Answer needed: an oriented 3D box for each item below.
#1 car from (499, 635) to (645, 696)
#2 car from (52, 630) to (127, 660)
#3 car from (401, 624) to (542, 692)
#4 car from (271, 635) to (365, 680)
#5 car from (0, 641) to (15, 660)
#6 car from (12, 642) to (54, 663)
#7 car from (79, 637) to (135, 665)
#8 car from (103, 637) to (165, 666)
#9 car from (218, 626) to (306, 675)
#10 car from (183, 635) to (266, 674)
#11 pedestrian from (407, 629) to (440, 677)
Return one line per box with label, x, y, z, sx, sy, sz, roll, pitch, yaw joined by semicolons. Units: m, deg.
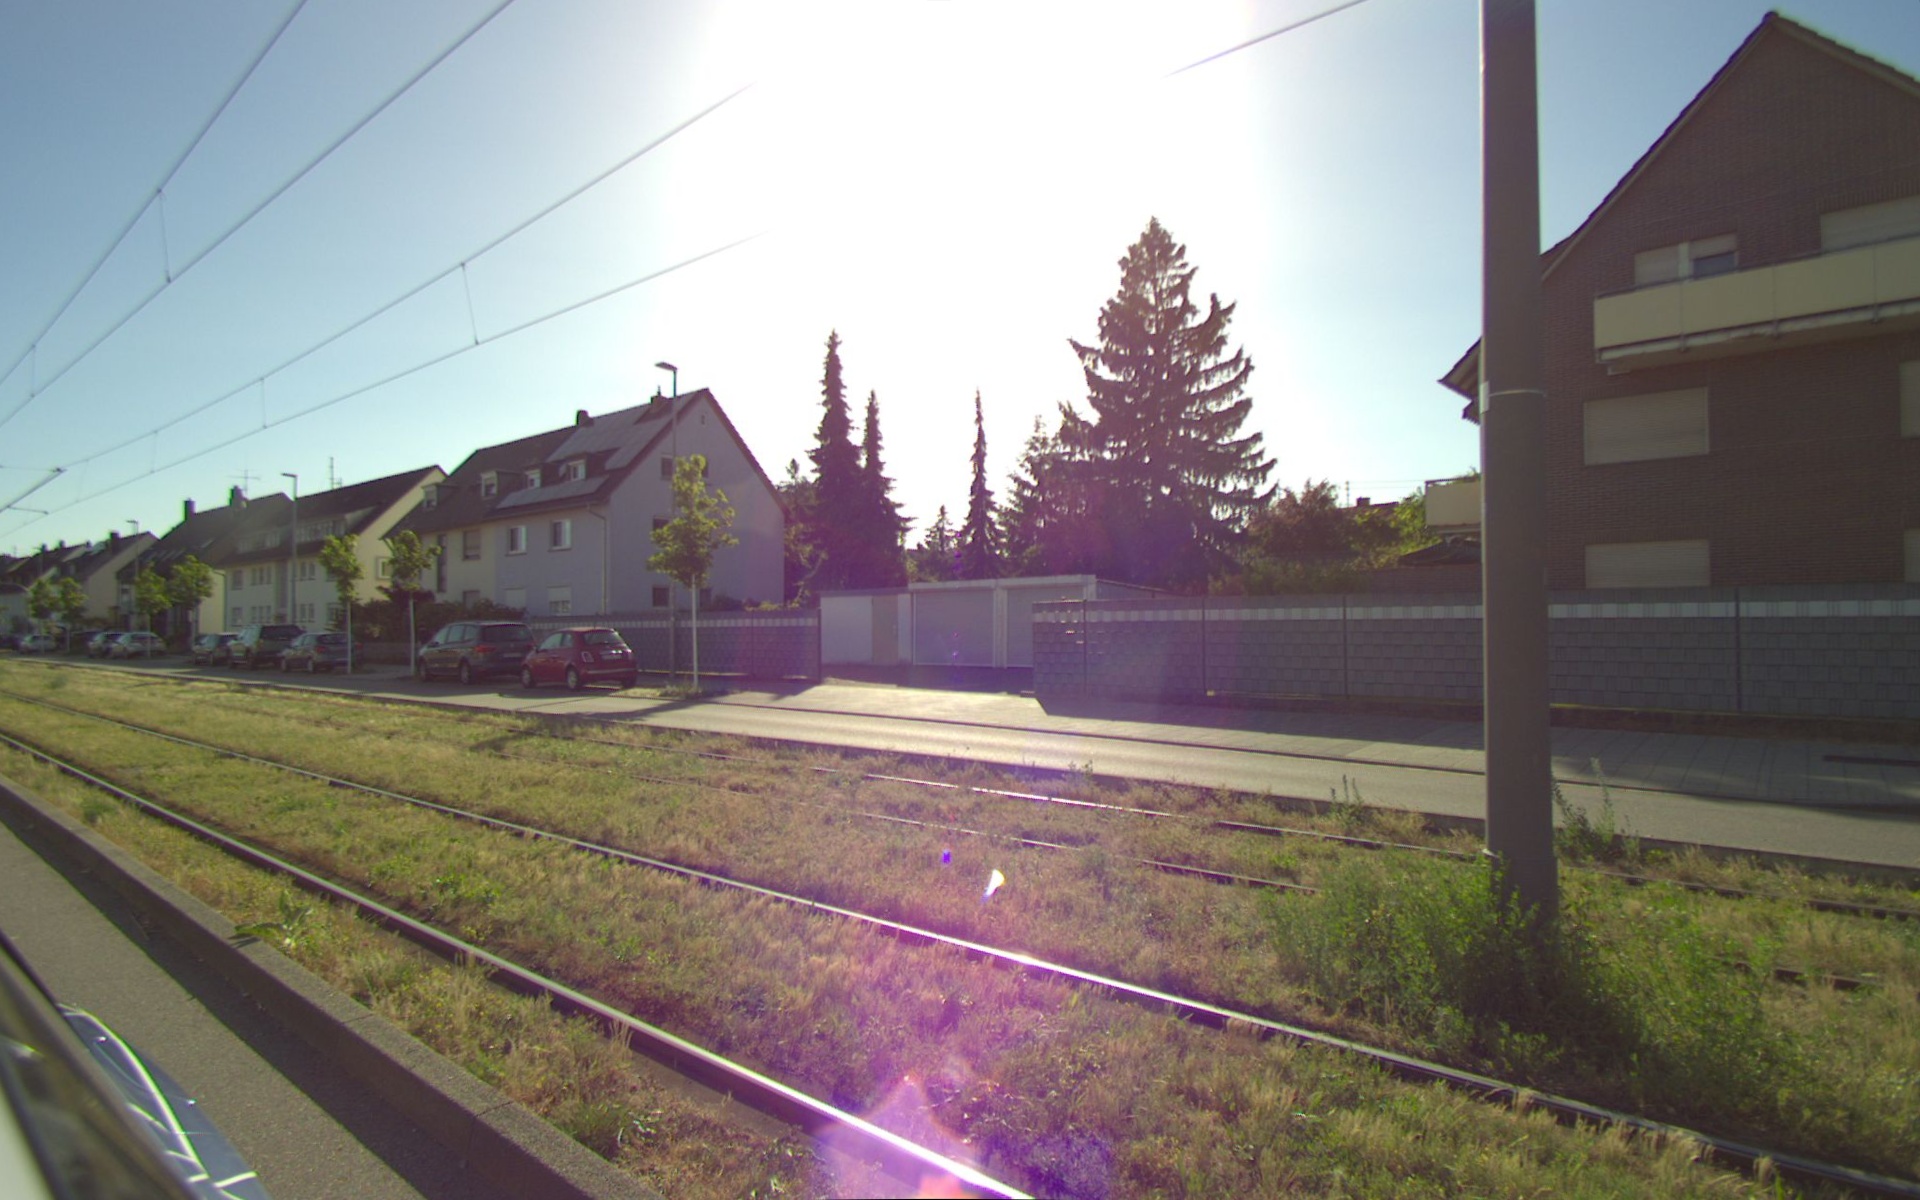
car;-9.715;1.583;25.200;4.076;1.415;1.678;-2;-3;41
car;-71.663;3.660;83.385;1.785;2.096;4.417;-2;1;39
car;-13.899;1.587;28.672;4.842;1.697;1.801;-2;-1;41
car;-23.691;2.077;37.321;4.044;1.502;1.660;-2;-1;38
car;-78.036;4.117;82.007;4.081;1.523;1.603;-2;-1;40
car;-67.855;3.819;74.078;4.097;1.447;1.642;-2;-2;38
car;-50.157;2.979;59.489;4.309;1.484;1.672;-1;-1;38
car;-45.338;2.801;55.522;4.437;1.486;1.672;-1;-1;38
car;-28.344;2.008;41.037;4.837;1.837;1.727;-2;-1;40
car;-32.801;2.384;45.116;4.553;1.552;1.941;-2;-1;40
pedestrian;-18.842;1.855;35.533;0.918;1.652;0.689;-2;-1;38
